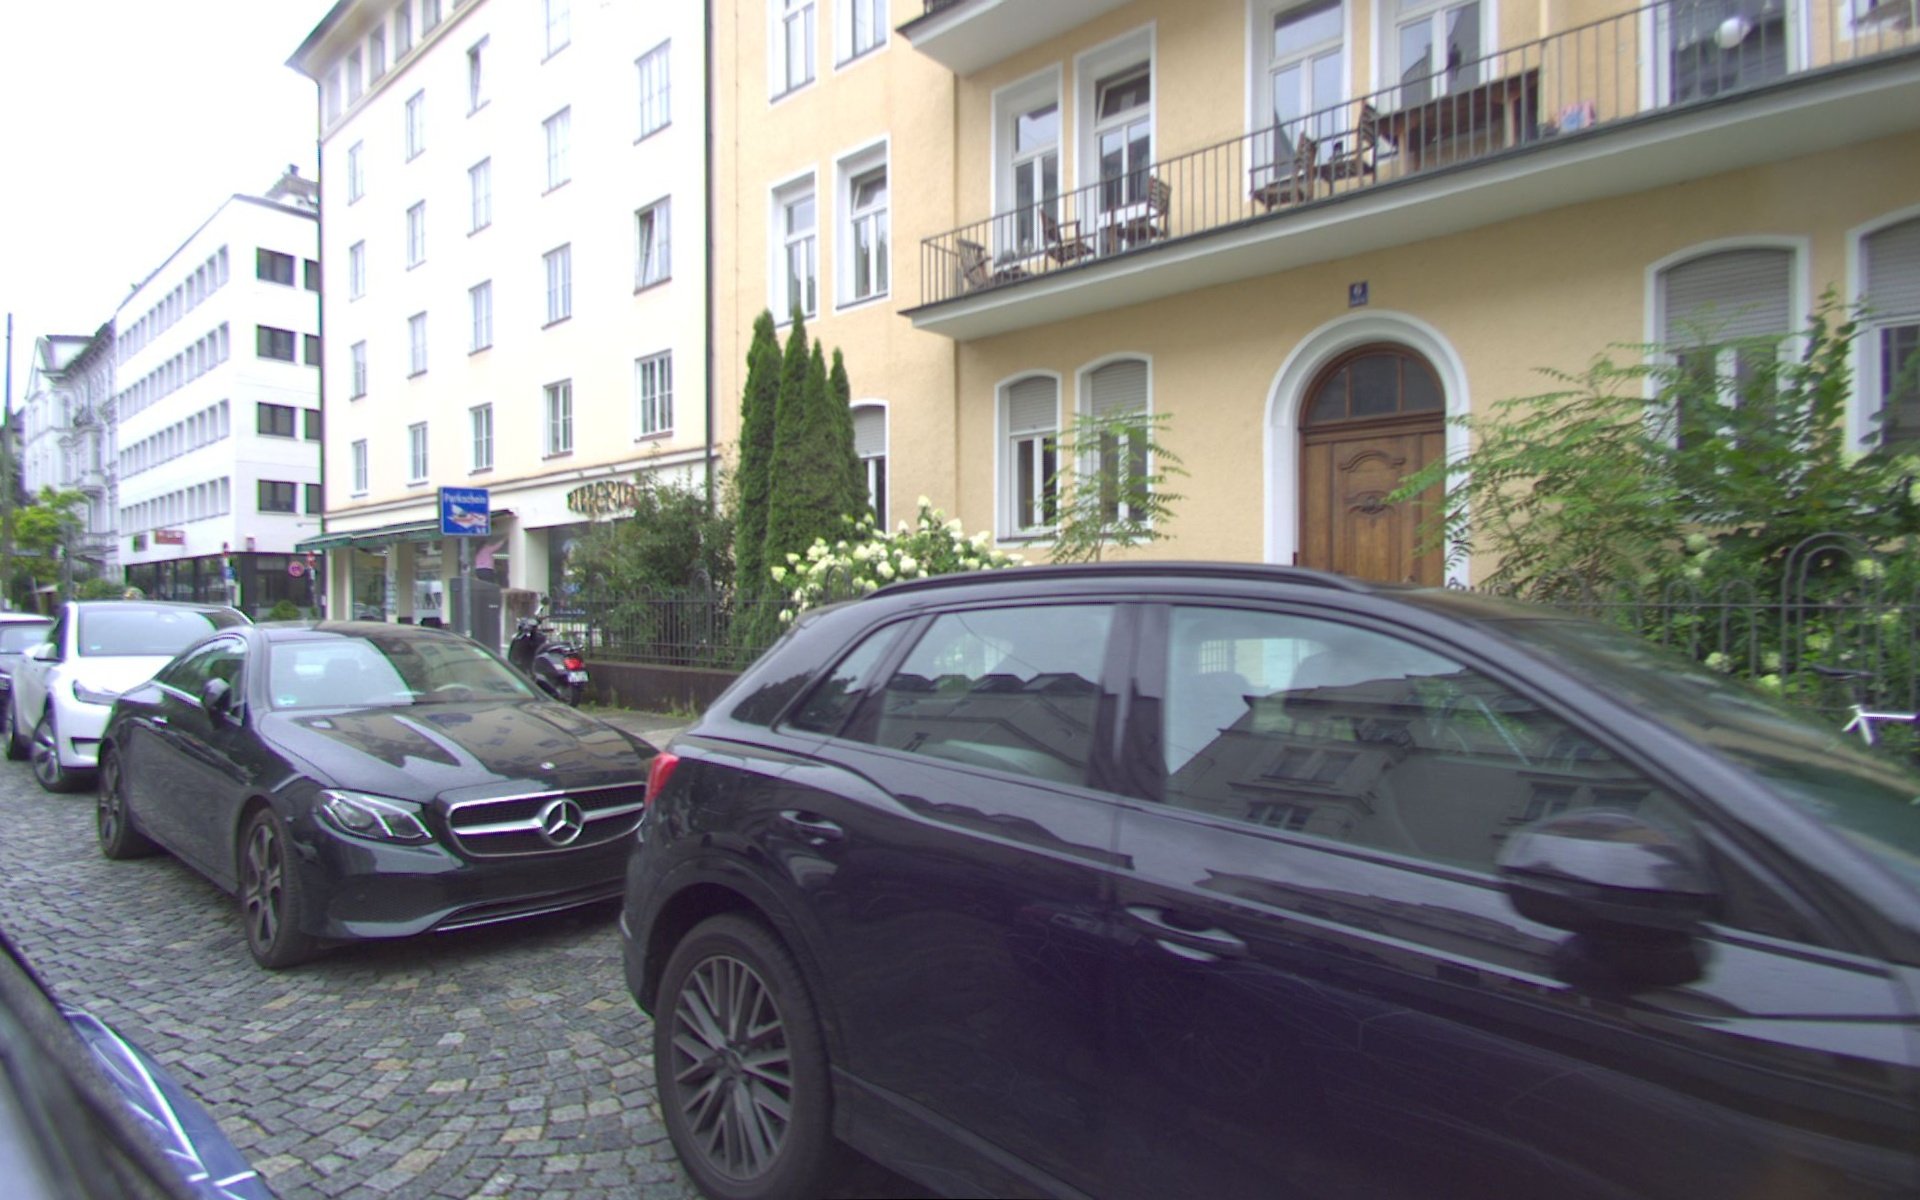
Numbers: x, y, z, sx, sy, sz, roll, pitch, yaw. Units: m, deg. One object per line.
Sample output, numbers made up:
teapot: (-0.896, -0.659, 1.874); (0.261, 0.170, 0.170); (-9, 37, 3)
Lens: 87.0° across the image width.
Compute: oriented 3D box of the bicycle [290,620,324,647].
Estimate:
bicycle: (-24.744, 1.276, 38.327); (1.890, 0.975, 0.394); (0, 1, 36)

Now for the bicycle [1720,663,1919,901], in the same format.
bicycle: (4.430, 0.831, 4.569); (1.572, 1.010, 0.348); (0, 1, 43)

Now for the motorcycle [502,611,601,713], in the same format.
motorcycle: (-5.215, 0.758, 12.874); (1.578, 1.203, 0.486); (0, 1, 41)

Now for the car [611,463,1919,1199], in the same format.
car: (1.043, 0.675, 2.073); (4.056, 1.602, 1.562); (0, -1, 43)

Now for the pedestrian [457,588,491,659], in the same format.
pedestrian: (-11.551, 0.536, 24.041); (0.629, 1.655, 0.516); (0, 1, 41)

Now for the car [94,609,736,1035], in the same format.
car: (-3.307, 0.802, 5.683); (4.389, 1.440, 1.755); (0, 1, 41)

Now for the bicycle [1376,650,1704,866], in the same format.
bicycle: (3.216, 0.825, 5.723); (1.572, 1.010, 0.348); (0, 1, 43)

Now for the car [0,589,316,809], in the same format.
car: (-7.939, 0.745, 9.807); (4.390, 1.660, 1.755); (0, 1, 42)

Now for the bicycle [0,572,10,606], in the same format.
bicycle: (-32.780, -0.371, 34.573); (1.806, 1.135, 0.252); (0, 1, 41)

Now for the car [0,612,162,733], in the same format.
car: (-12.668, 0.896, 14.018); (4.389, 1.369, 1.755); (0, 1, 41)

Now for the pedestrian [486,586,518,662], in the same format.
pedestrian: (-10.486, 0.539, 23.164); (0.574, 1.703, 0.457); (0, 1, 41)

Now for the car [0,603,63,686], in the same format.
car: (-20.464, 0.877, 21.182); (4.744, 1.598, 1.834); (0, 1, 40)

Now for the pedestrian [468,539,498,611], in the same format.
pedestrian: (-11.091, -0.575, 23.519); (0.472, 1.655, 0.497); (-1, 1, -45)

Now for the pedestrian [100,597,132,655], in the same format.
pedestrian: (-27.305, 0.830, 32.741); (0.812, 1.854, 0.608); (0, 0, 35)

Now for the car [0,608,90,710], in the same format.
car: (-16.486, 0.935, 17.343); (4.538, 1.548, 1.755); (0, 1, 41)
